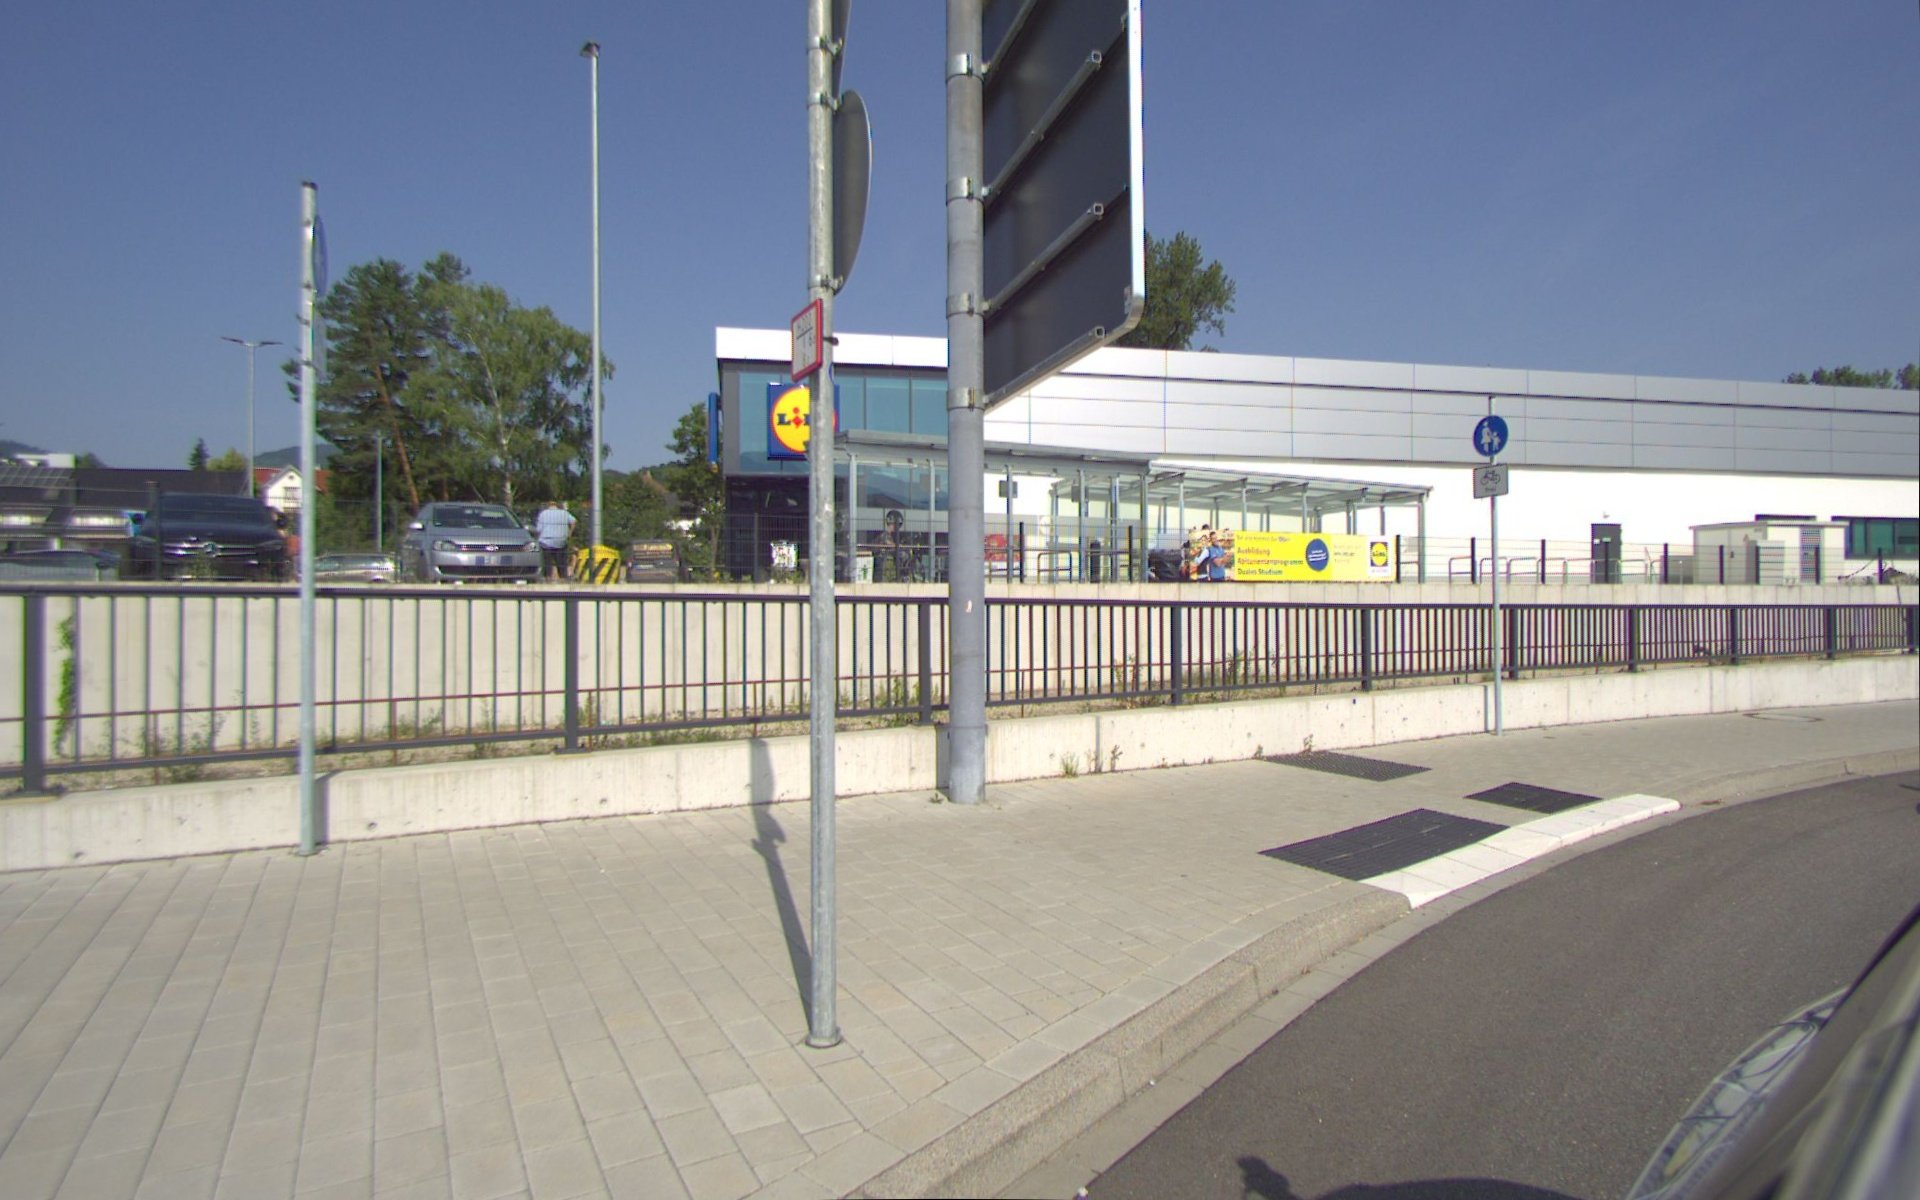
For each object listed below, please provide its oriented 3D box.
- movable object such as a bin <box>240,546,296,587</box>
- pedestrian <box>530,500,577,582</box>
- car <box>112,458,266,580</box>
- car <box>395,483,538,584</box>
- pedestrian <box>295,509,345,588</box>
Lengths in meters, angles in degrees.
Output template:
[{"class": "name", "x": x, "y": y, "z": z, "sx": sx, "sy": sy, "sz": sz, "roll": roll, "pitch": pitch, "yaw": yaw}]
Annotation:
[{"class": "movable object such as a bin", "x": -12.565, "y": -0.597, "z": 18.386, "sx": 0.822, "sy": 0.732, "sz": 0.484, "roll": -1, "pitch": 1, "yaw": -37}, {"class": "pedestrian", "x": -6.769, "y": -0.963, "z": 16.852, "sx": 0.644, "sy": 1.328, "sz": 0.549, "roll": 0, "pitch": 0, "yaw": -31}, {"class": "car", "x": -10.995, "y": -1.044, "z": 14.643, "sx": 1.457, "sy": 1.422, "sz": 4.076, "roll": 1, "pitch": 0, "yaw": -33}, {"class": "car", "x": -8.229, "y": -0.997, "z": 16.702, "sx": 1.648, "sy": 1.382, "sz": 3.819, "roll": 1, "pitch": 0, "yaw": -33}, {"class": "pedestrian", "x": -11.935, "y": -0.943, "z": 18.873, "sx": 0.759, "sy": 1.444, "sz": 0.549, "roll": -1, "pitch": 0, "yaw": -36}]
